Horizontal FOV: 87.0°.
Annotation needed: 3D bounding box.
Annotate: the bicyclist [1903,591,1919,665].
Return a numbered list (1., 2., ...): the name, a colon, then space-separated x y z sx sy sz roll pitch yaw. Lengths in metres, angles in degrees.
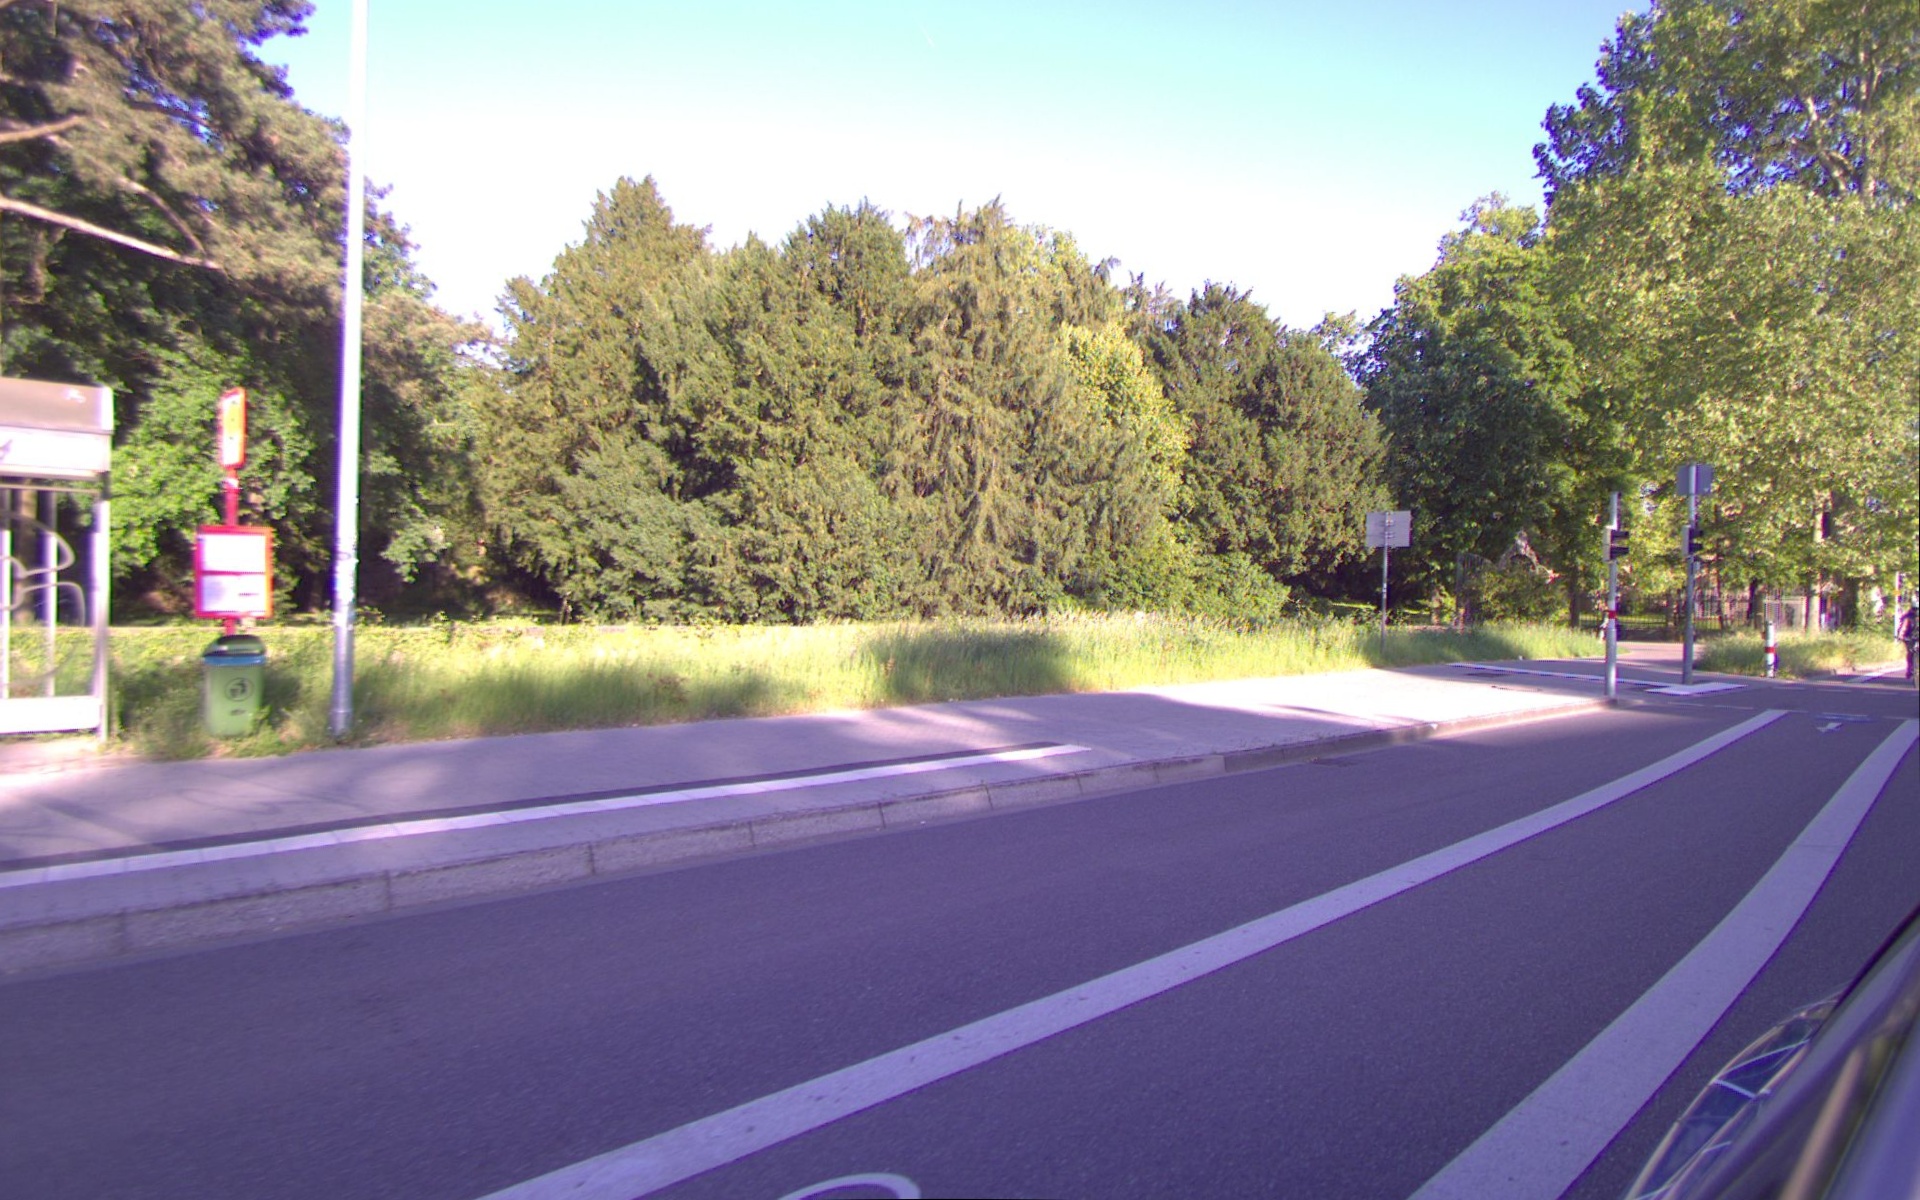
1. bicyclist: 19.806 0.575 20.584 0.785 1.509 0.696 1 0 -31

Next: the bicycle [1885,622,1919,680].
1. bicycle: 19.586 1.016 20.471 2.093 1.109 0.696 1 1 -31

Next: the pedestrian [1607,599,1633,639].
1. pedestrian: 27.692 0.781 42.456 0.667 1.654 0.692 1 0 -33

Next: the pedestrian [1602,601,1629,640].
1. pedestrian: 27.001 0.837 41.669 0.667 1.565 0.692 1 0 -33

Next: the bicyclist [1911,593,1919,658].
1. bicyclist: 23.074 0.603 24.022 0.878 1.520 0.693 1 0 -45
